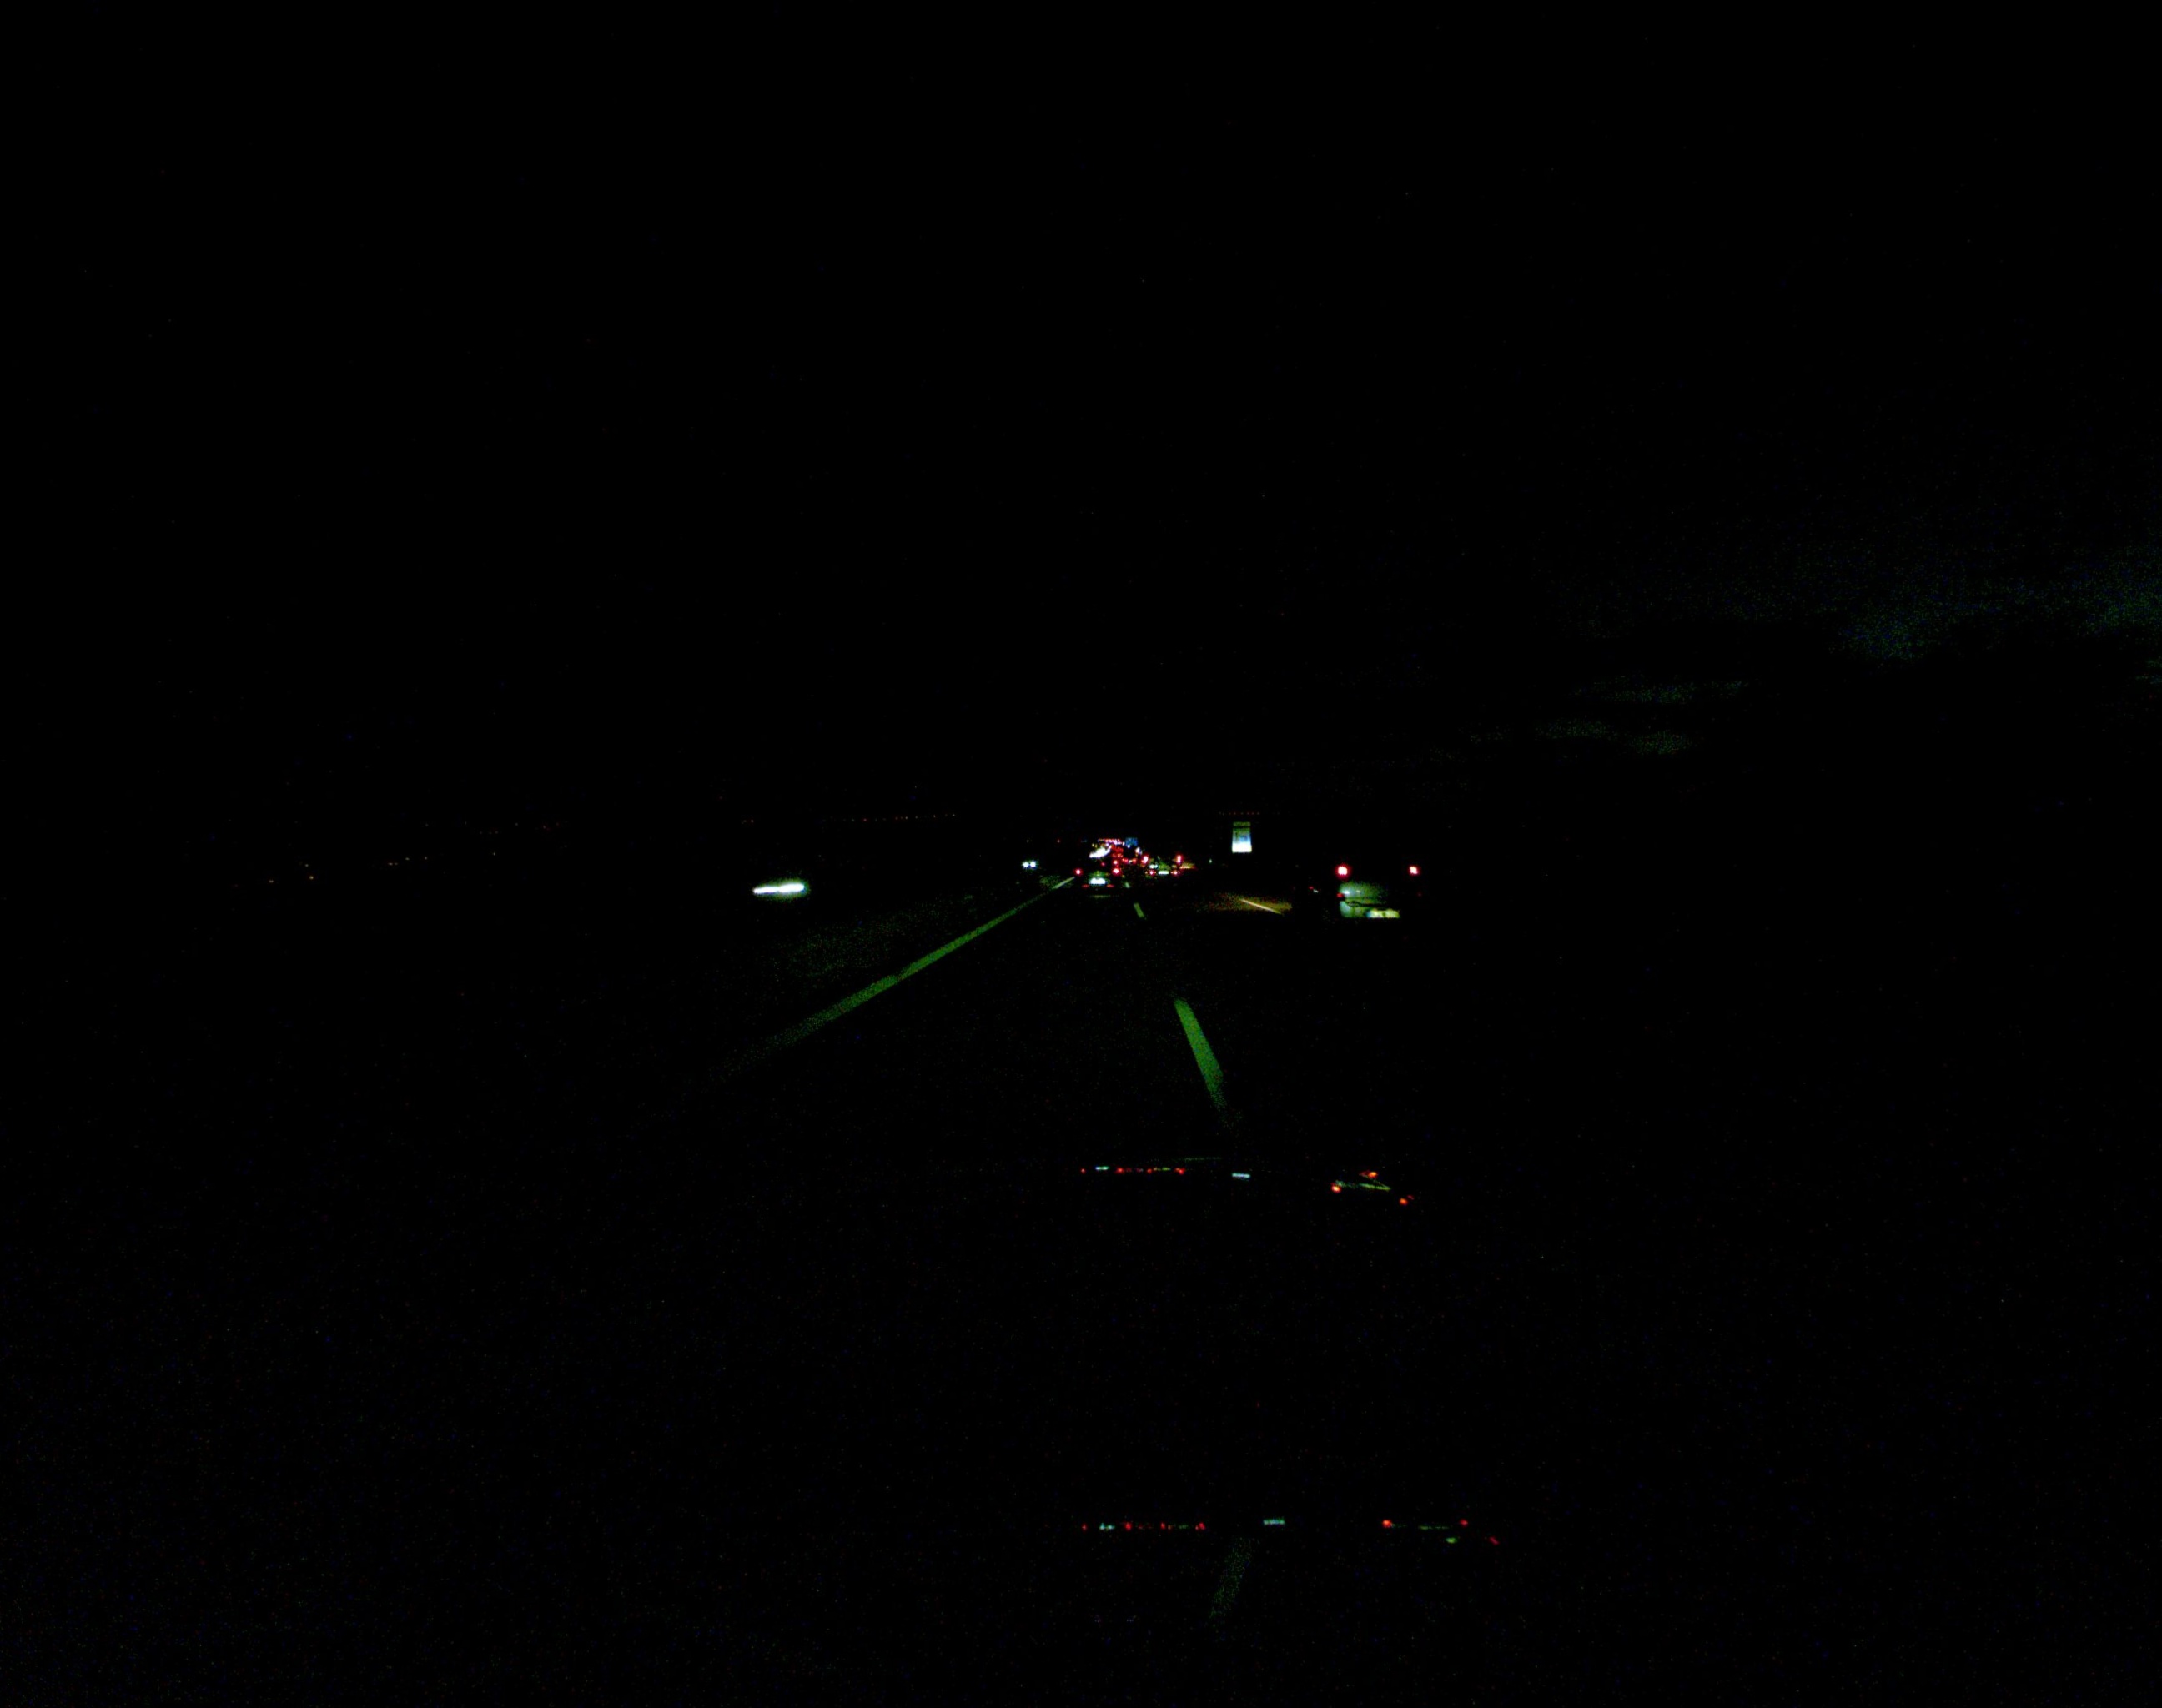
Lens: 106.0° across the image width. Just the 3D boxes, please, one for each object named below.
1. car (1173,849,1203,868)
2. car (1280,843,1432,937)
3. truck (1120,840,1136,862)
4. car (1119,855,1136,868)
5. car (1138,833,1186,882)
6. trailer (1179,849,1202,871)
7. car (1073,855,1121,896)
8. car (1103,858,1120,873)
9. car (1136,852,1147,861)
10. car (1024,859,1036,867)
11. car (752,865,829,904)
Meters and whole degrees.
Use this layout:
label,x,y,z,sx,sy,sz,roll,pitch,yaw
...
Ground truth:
label,x,y,z,sx,sy,sz,roll,pitch,yaw
car,9.160,0.364,70.096,2.154,1.563,4.726,-2,0,3
car,5.320,0.636,16.393,1.640,1.596,4.511,-1,0,2
truck,9.130,-0.564,159.226,2.771,3.955,7.994,-2,0,1
car,7.061,1.104,123.843,2.342,1.914,4.726,-3,0,3
car,4.523,0.168,46.174,2.342,2.535,5.705,-2,0,3
trailer,8.933,0.453,66.445,1.560,1.693,2.822,-2,0,2
car,0.692,0.807,32.579,1.786,1.469,3.775,-1,0,3
car,3.316,1.184,88.311,1.737,1.440,4.370,-2,0,3
car,15.115,0.698,203.517,2.342,2.076,4.726,-2,0,3
car,-10.177,1.714,163.879,1.987,1.419,4.983,-4,0,1
car,-15.236,1.541,42.959,2.036,1.720,4.778,-4,0,3
